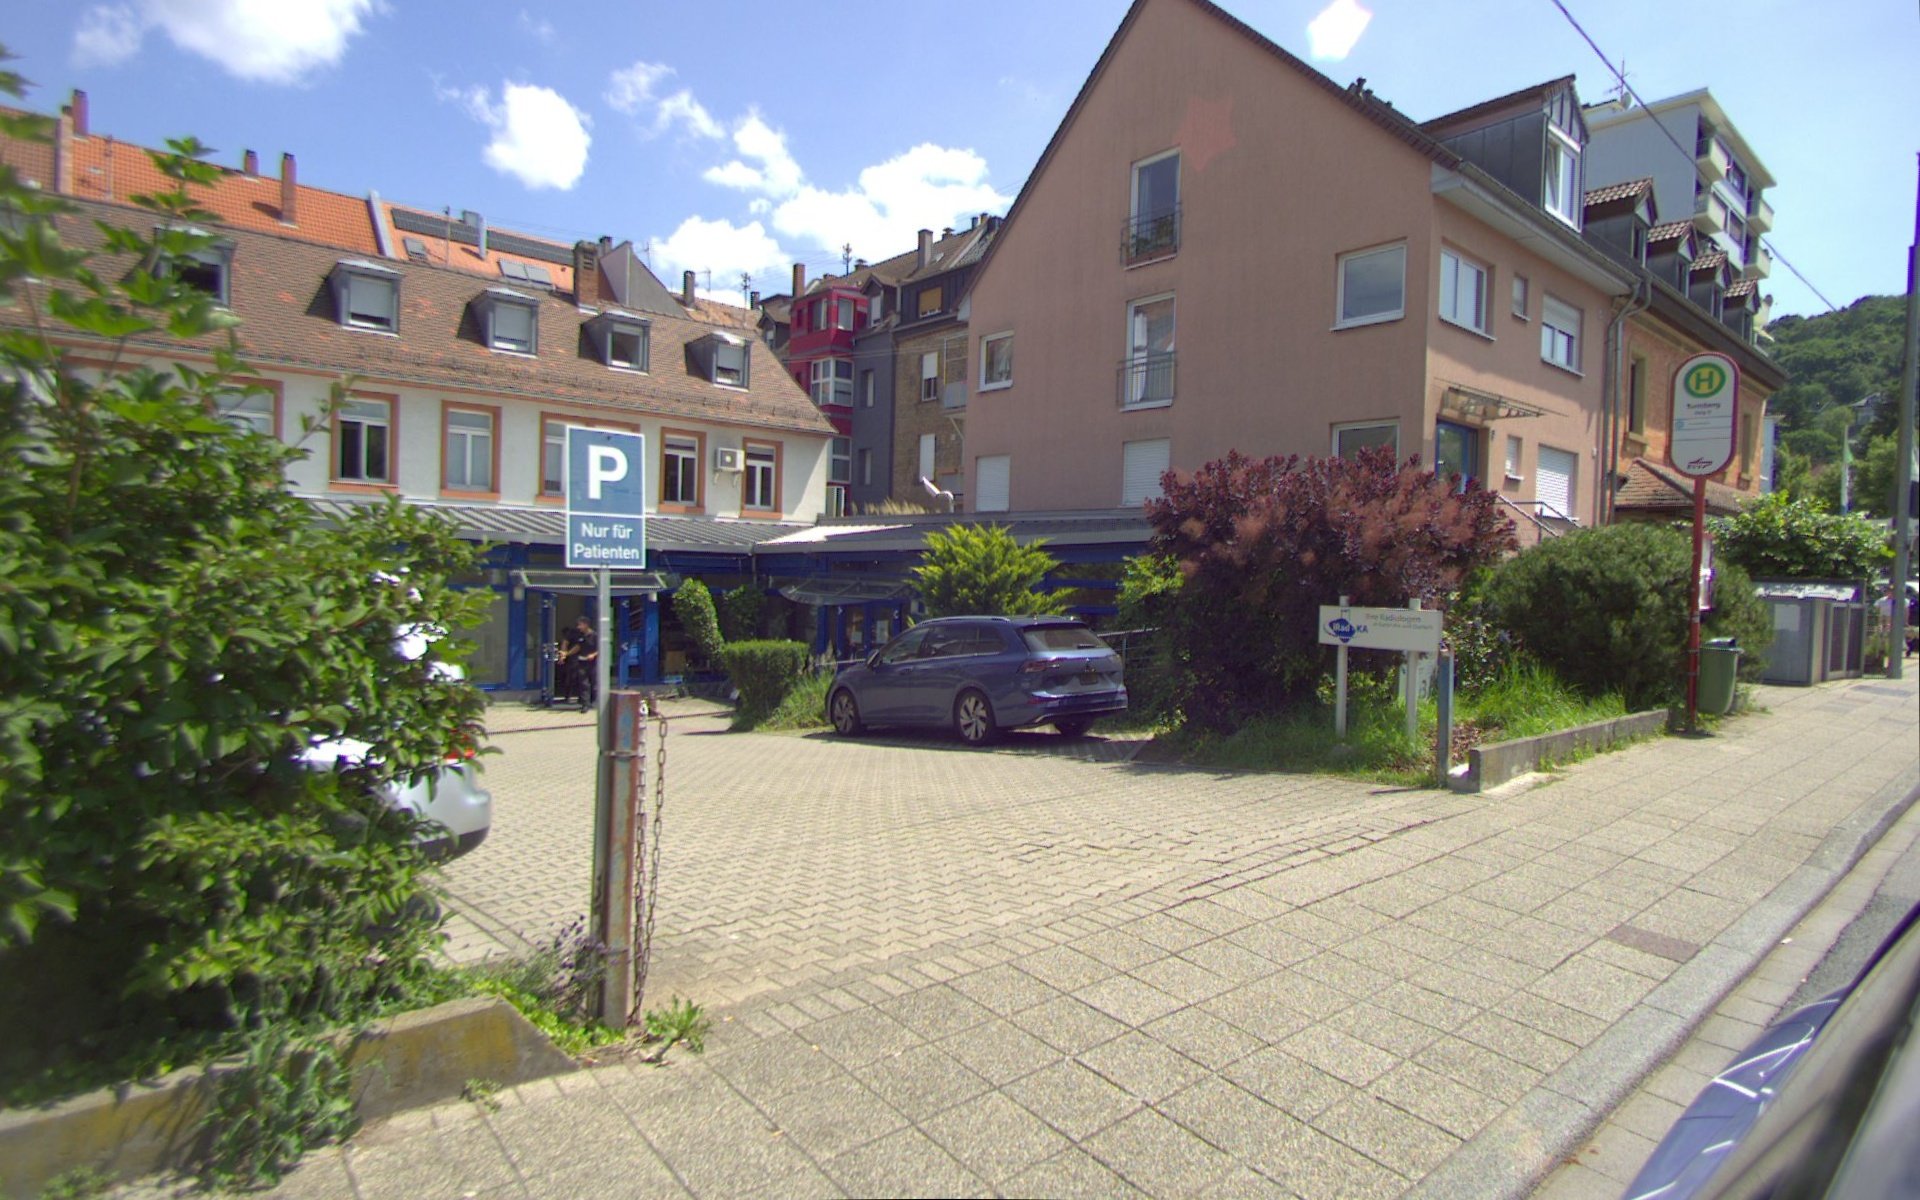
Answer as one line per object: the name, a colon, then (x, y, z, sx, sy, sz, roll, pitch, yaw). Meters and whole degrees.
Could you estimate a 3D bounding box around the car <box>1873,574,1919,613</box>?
car: (46.194, -0.301, 48.022, 1.788, 1.812, 4.292, -1, 1, -1)

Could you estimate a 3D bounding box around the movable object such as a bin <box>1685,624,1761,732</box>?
movable object such as a bin: (7.279, 0.726, 9.649, 0.717, 0.917, 0.407, -2, 6, -44)

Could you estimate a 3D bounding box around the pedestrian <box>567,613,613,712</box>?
pedestrian: (-7.091, 1.177, 19.396, 0.675, 1.813, 0.594, -2, 1, -34)

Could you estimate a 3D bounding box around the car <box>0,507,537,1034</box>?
car: (-3.858, 0.592, 3.621, 3.931, 1.649, 1.763, -2, -2, -41)

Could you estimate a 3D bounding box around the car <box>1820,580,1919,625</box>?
car: (35.235, 0.075, 38.338, 3.867, 1.562, 1.818, 2, 3, 37)

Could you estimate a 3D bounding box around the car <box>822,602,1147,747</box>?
car: (0.117, 0.908, 12.428, 1.691, 1.444, 4.140, -1, -4, -38)

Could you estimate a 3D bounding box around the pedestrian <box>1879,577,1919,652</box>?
pedestrian: (21.595, 0.330, 23.183, 0.704, 1.662, 0.650, 4, 2, 40)
